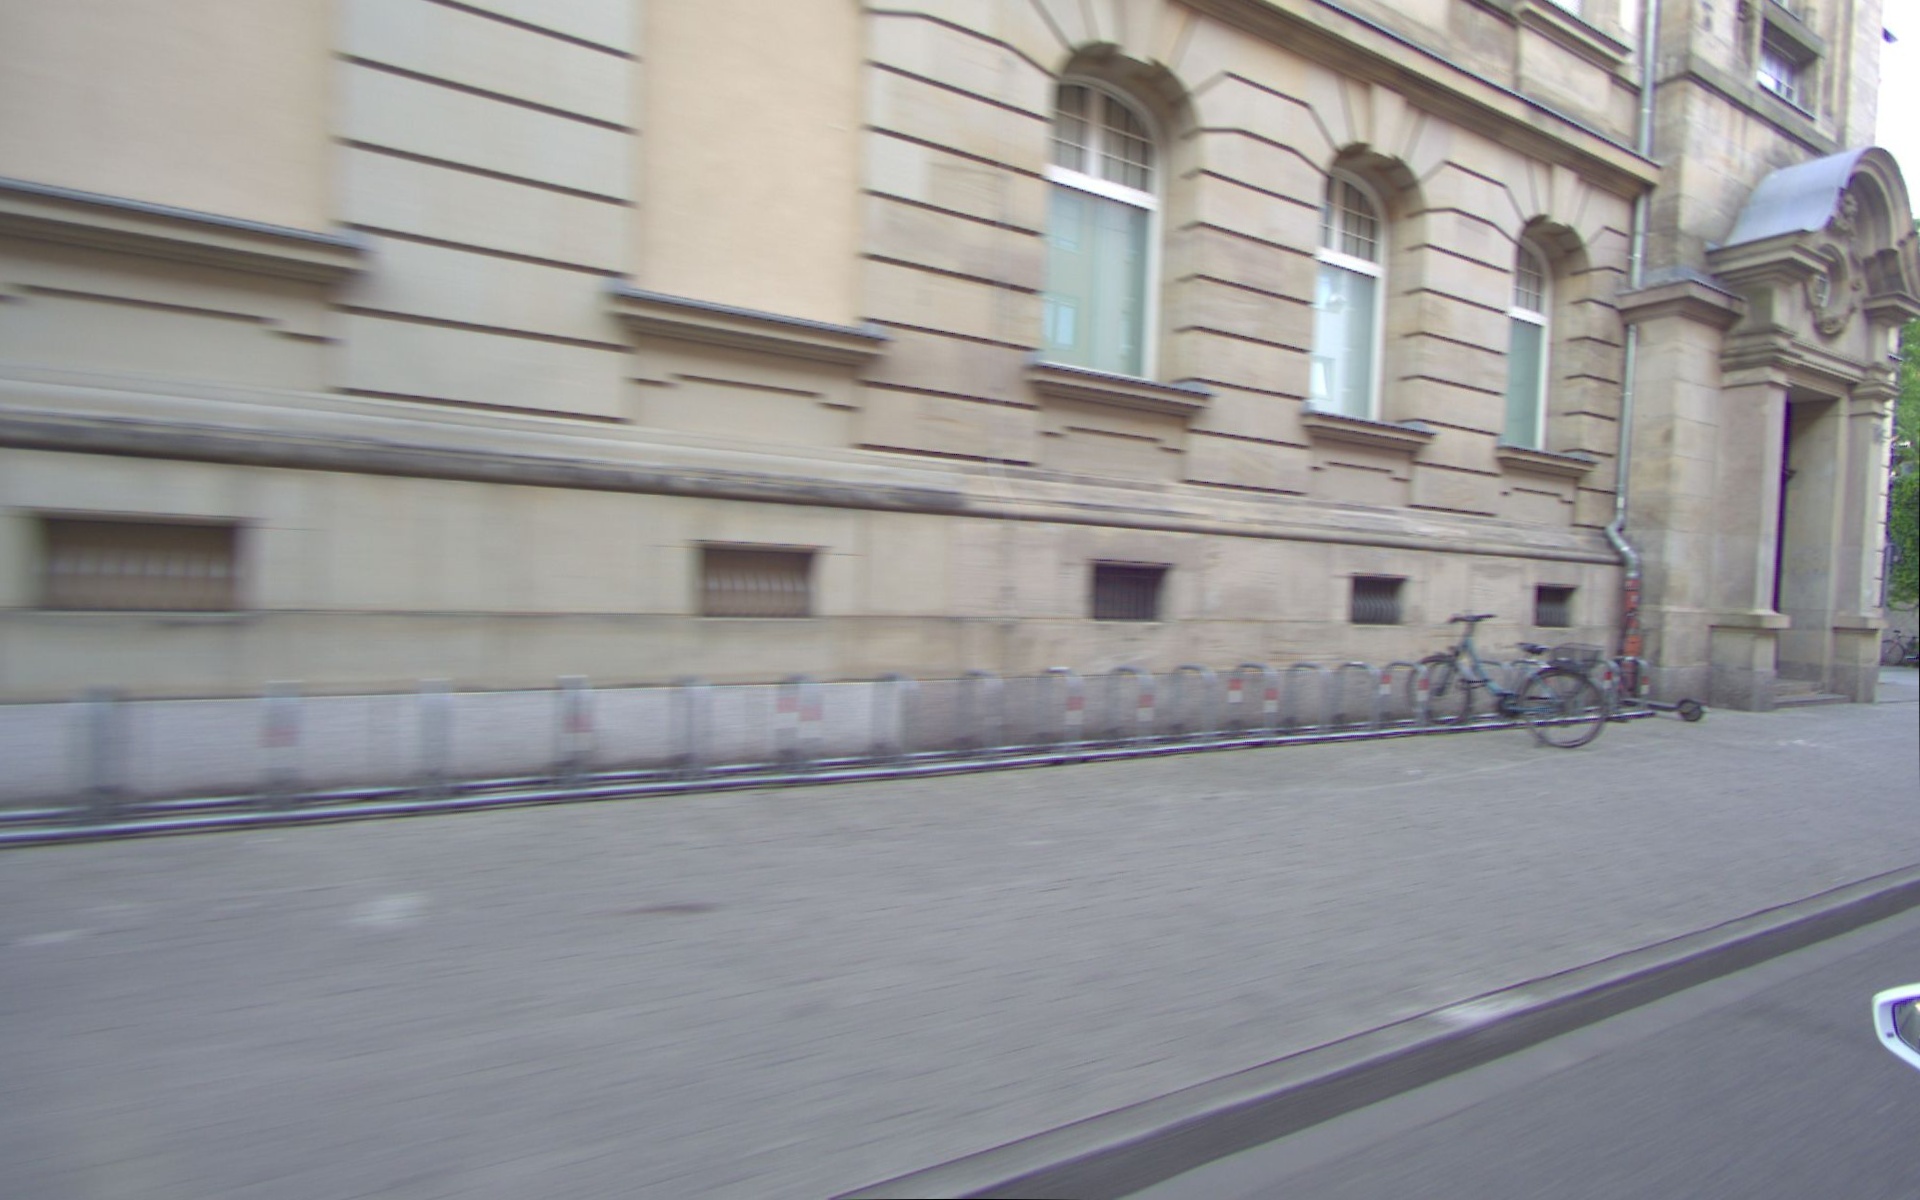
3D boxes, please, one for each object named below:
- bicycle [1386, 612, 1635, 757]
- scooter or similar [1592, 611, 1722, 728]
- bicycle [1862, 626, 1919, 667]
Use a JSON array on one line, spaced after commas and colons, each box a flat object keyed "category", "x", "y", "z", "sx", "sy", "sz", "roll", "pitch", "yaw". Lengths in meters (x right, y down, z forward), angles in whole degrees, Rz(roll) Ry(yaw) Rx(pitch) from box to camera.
[{"category": "bicycle", "x": 5.204, "y": 0.744, "z": 9.606, "sx": 0.616, "sy": 1.076, "sz": 1.917, "roll": 1, "pitch": 5, "yaw": -44}, {"category": "scooter or similar", "x": 8.222, "y": 0.784, "z": 11.874, "sx": 0.493, "sy": 1.249, "sz": 1.122, "roll": 0, "pitch": 3, "yaw": -42}, {"category": "bicycle", "x": 25.667, "y": 1.276, "z": 27.308, "sx": 0.366, "sy": 1.027, "sz": 1.652, "roll": 1, "pitch": 2, "yaw": -28}]
